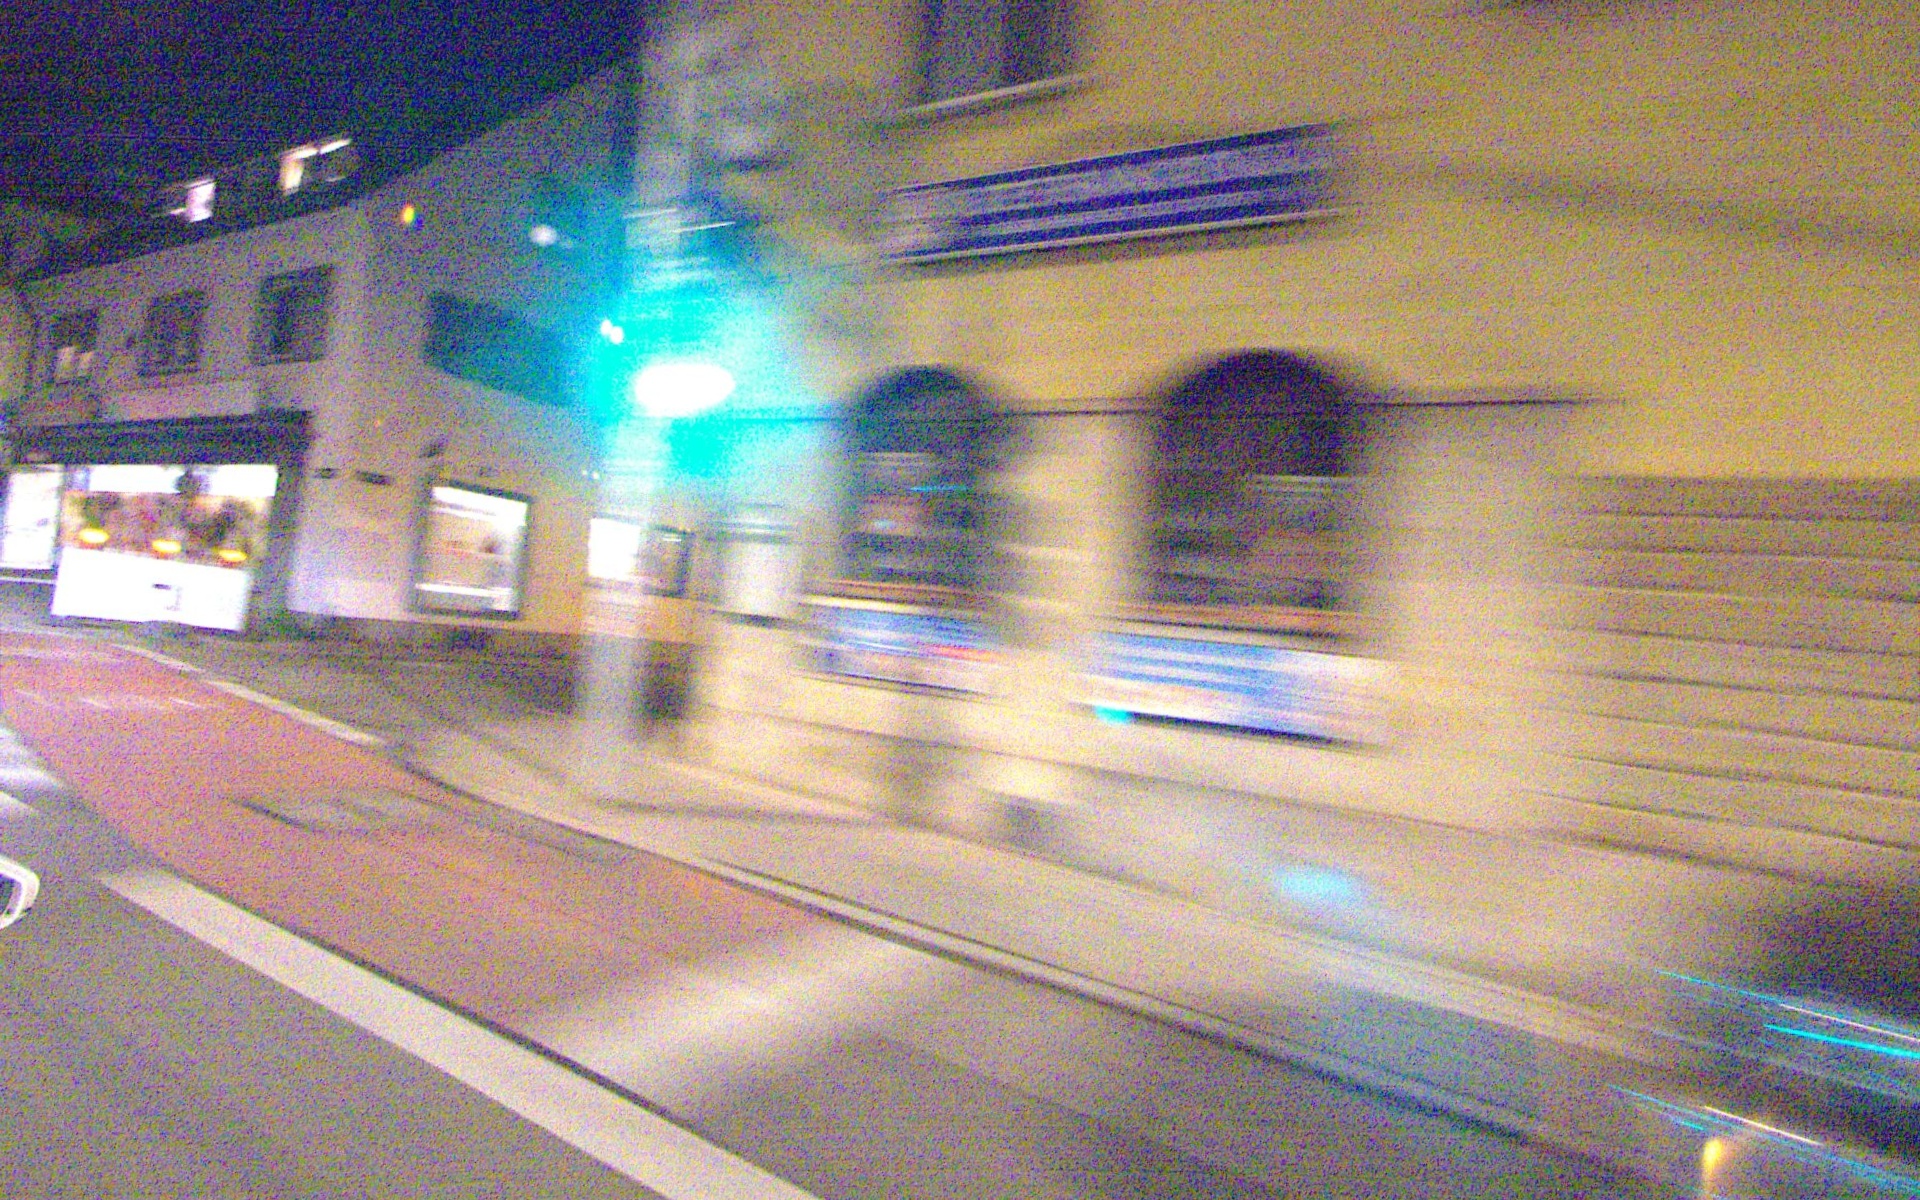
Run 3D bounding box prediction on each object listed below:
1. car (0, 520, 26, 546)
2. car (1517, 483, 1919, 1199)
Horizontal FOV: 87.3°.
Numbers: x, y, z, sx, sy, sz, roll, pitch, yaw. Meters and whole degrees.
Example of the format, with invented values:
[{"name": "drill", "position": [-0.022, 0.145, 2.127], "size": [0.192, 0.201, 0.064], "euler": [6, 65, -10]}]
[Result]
[{"name": "car", "position": [-56.130, -4.048, 58.120], "size": [1.752, 1.355, 3.901], "euler": [9, -3, -22]}, {"name": "car", "position": [3.588, 1.083, 1.247], "size": [4.815, 1.848, 1.916], "euler": [7, -1, 27]}]
